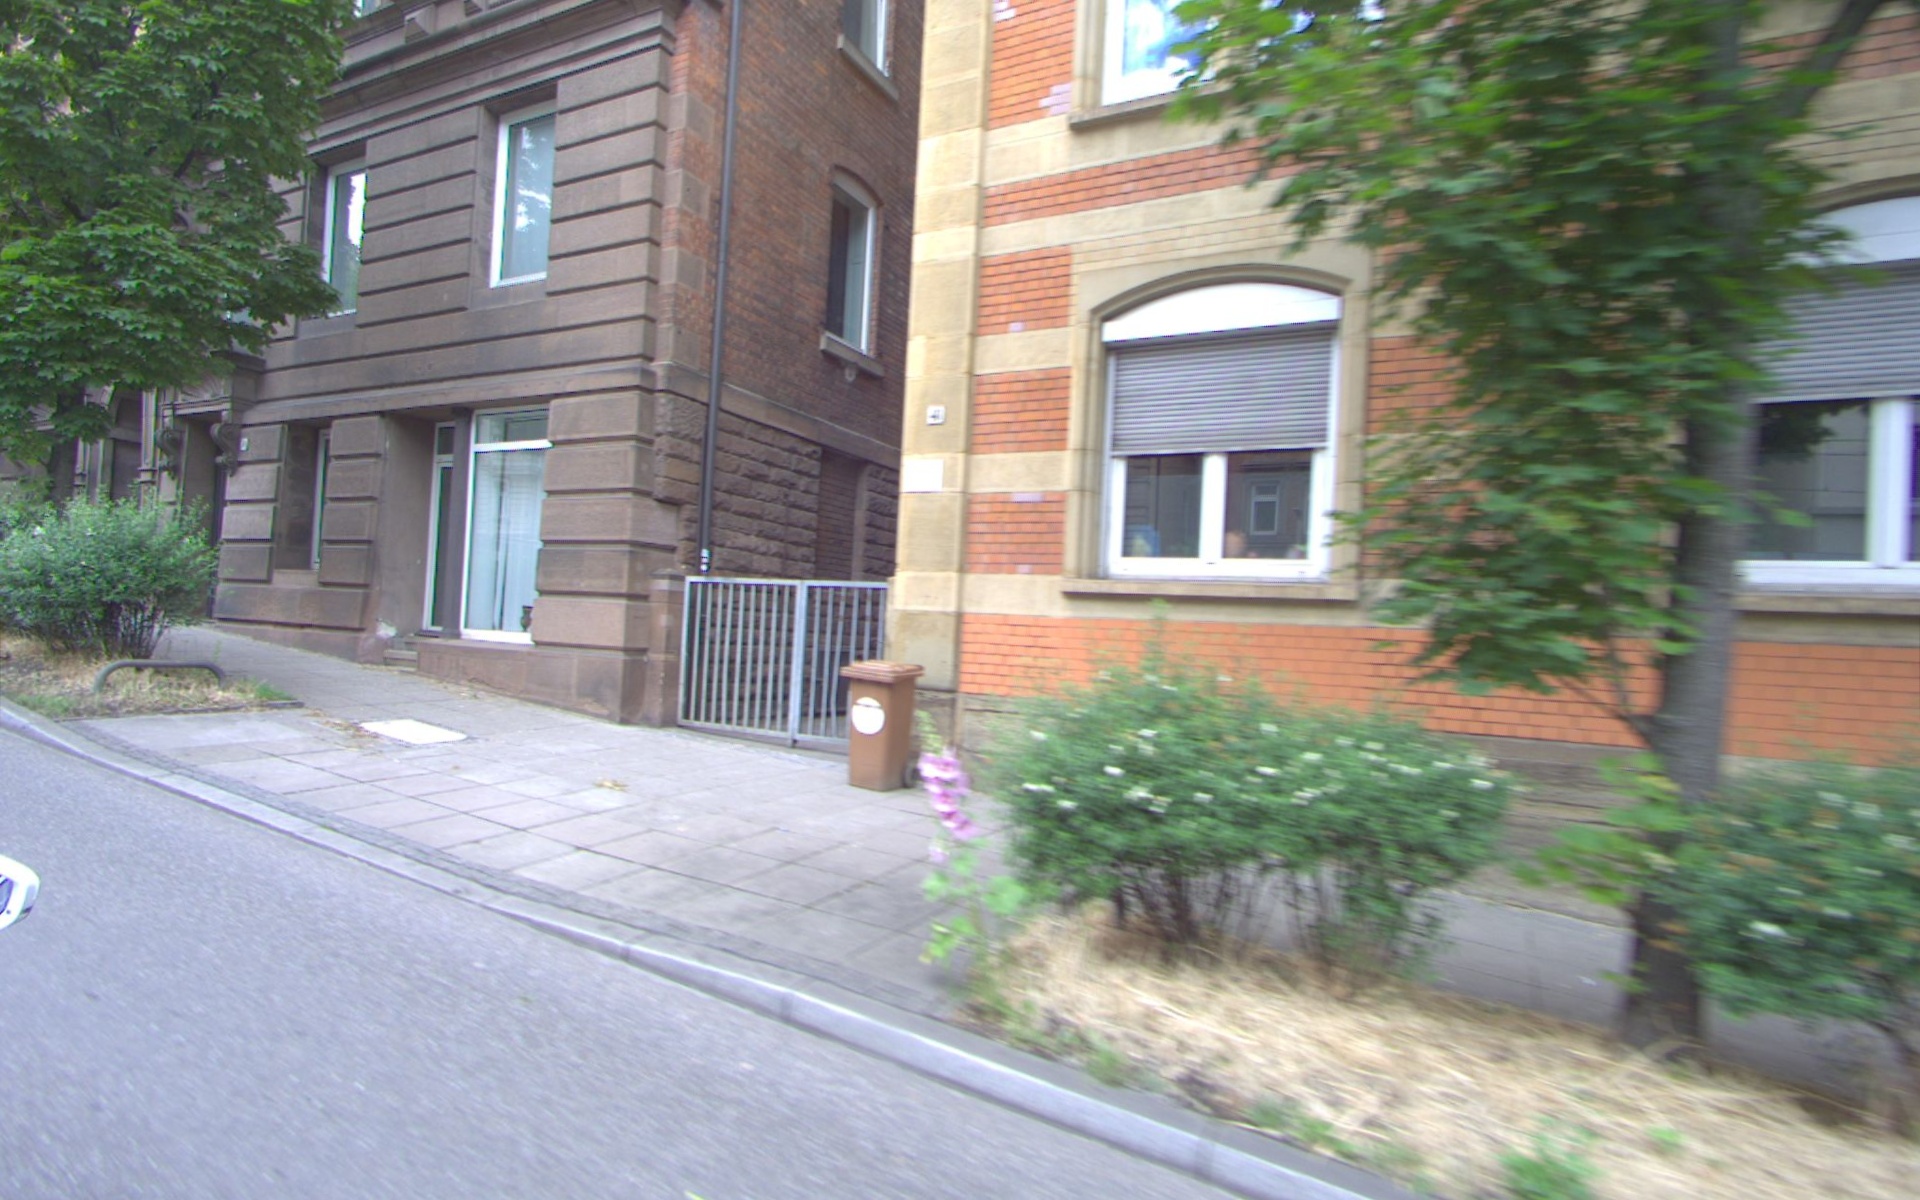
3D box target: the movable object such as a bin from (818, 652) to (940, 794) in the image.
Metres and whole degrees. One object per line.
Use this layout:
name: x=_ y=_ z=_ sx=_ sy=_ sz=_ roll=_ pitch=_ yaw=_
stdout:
movable object such as a bin: x=-0.600 y=0.906 z=7.586 sx=0.530 sy=0.954 sz=0.671 roll=7 pitch=0 yaw=32
